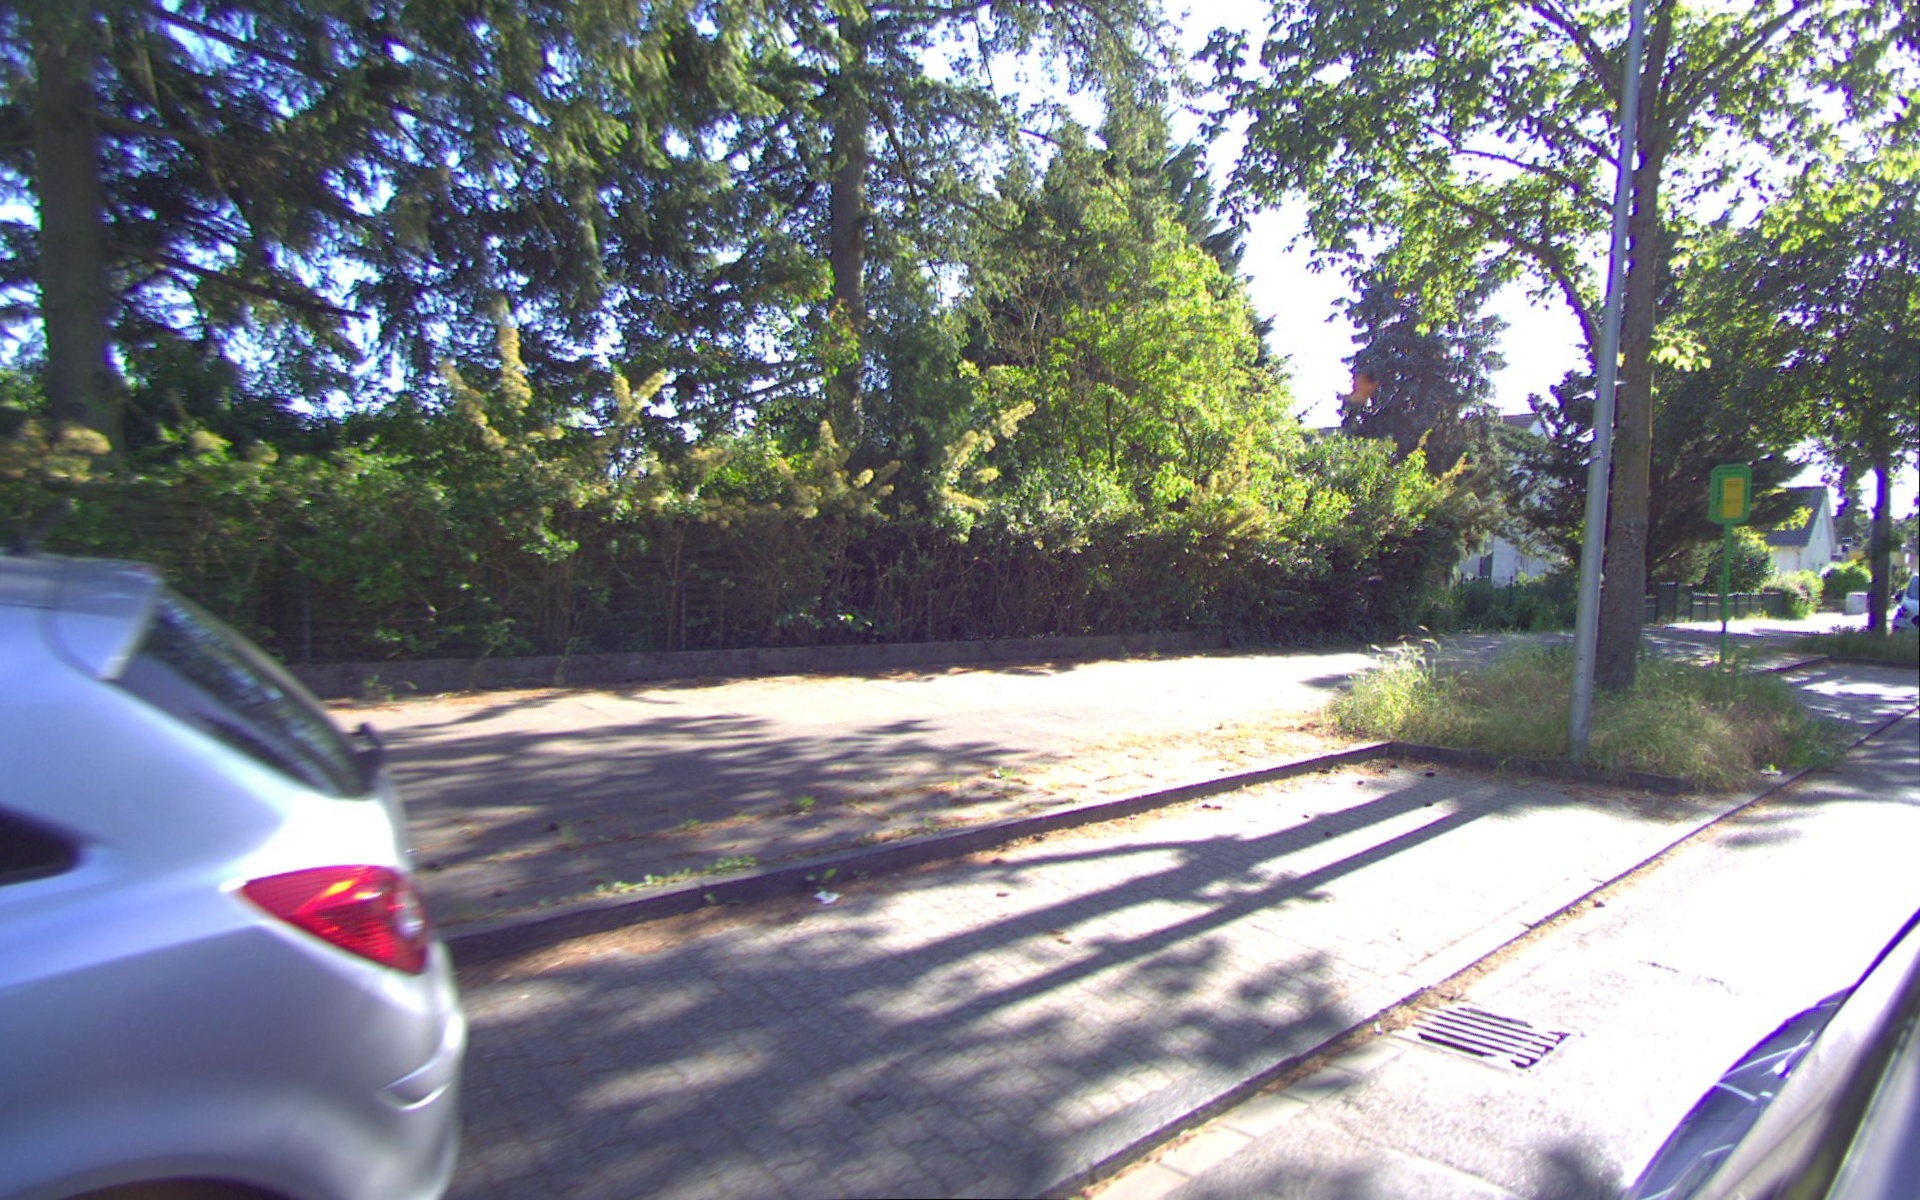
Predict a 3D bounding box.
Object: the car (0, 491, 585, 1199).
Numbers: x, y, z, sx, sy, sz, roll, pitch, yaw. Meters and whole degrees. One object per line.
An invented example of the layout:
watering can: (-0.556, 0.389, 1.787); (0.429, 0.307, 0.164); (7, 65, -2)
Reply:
car: (-2.692, 0.593, 1.125); (3.923, 1.528, 2.002); (-1, 5, -34)

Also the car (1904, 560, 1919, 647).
car: (24.994, 0.043, 25.011); (5.107, 2.039, 1.996); (-1, 1, -42)
